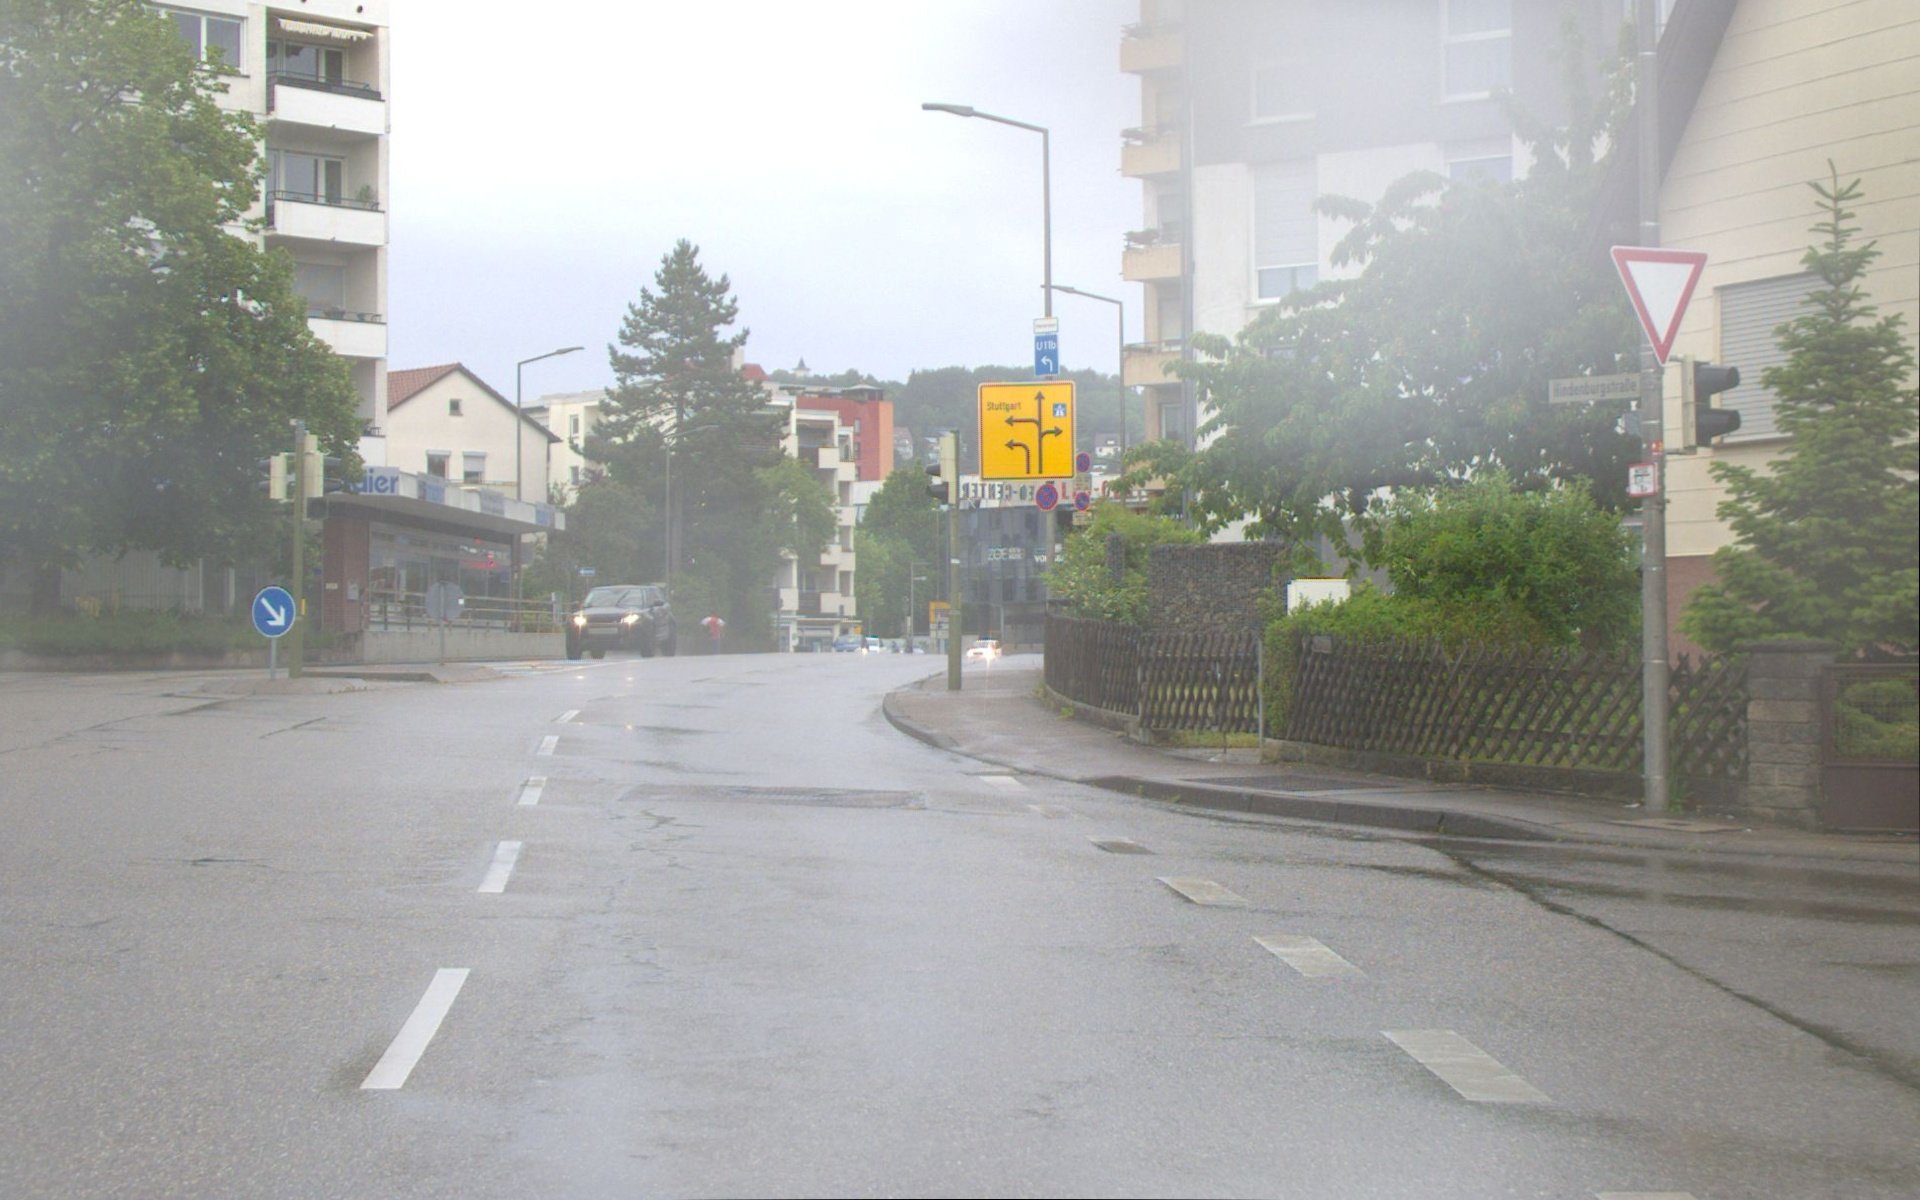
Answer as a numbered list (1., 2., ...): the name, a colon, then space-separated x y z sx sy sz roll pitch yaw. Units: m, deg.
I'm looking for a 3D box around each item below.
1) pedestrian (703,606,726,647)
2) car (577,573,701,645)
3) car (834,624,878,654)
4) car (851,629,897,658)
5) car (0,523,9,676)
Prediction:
1. pedestrian: -9.703 1.068 136.012 0.869 1.601 1.103 0 -2 -3
2. car: -7.063 0.182 76.030 1.803 1.551 4.317 0 0 8
3. car: -5.329 1.999 176.608 1.652 1.516 4.323 0 -1 7
4. car: -4.692 2.380 188.602 1.935 1.536 4.519 0 -1 7
5. car: -13.700 0.006 43.438 1.993 2.007 4.652 0 0 1
